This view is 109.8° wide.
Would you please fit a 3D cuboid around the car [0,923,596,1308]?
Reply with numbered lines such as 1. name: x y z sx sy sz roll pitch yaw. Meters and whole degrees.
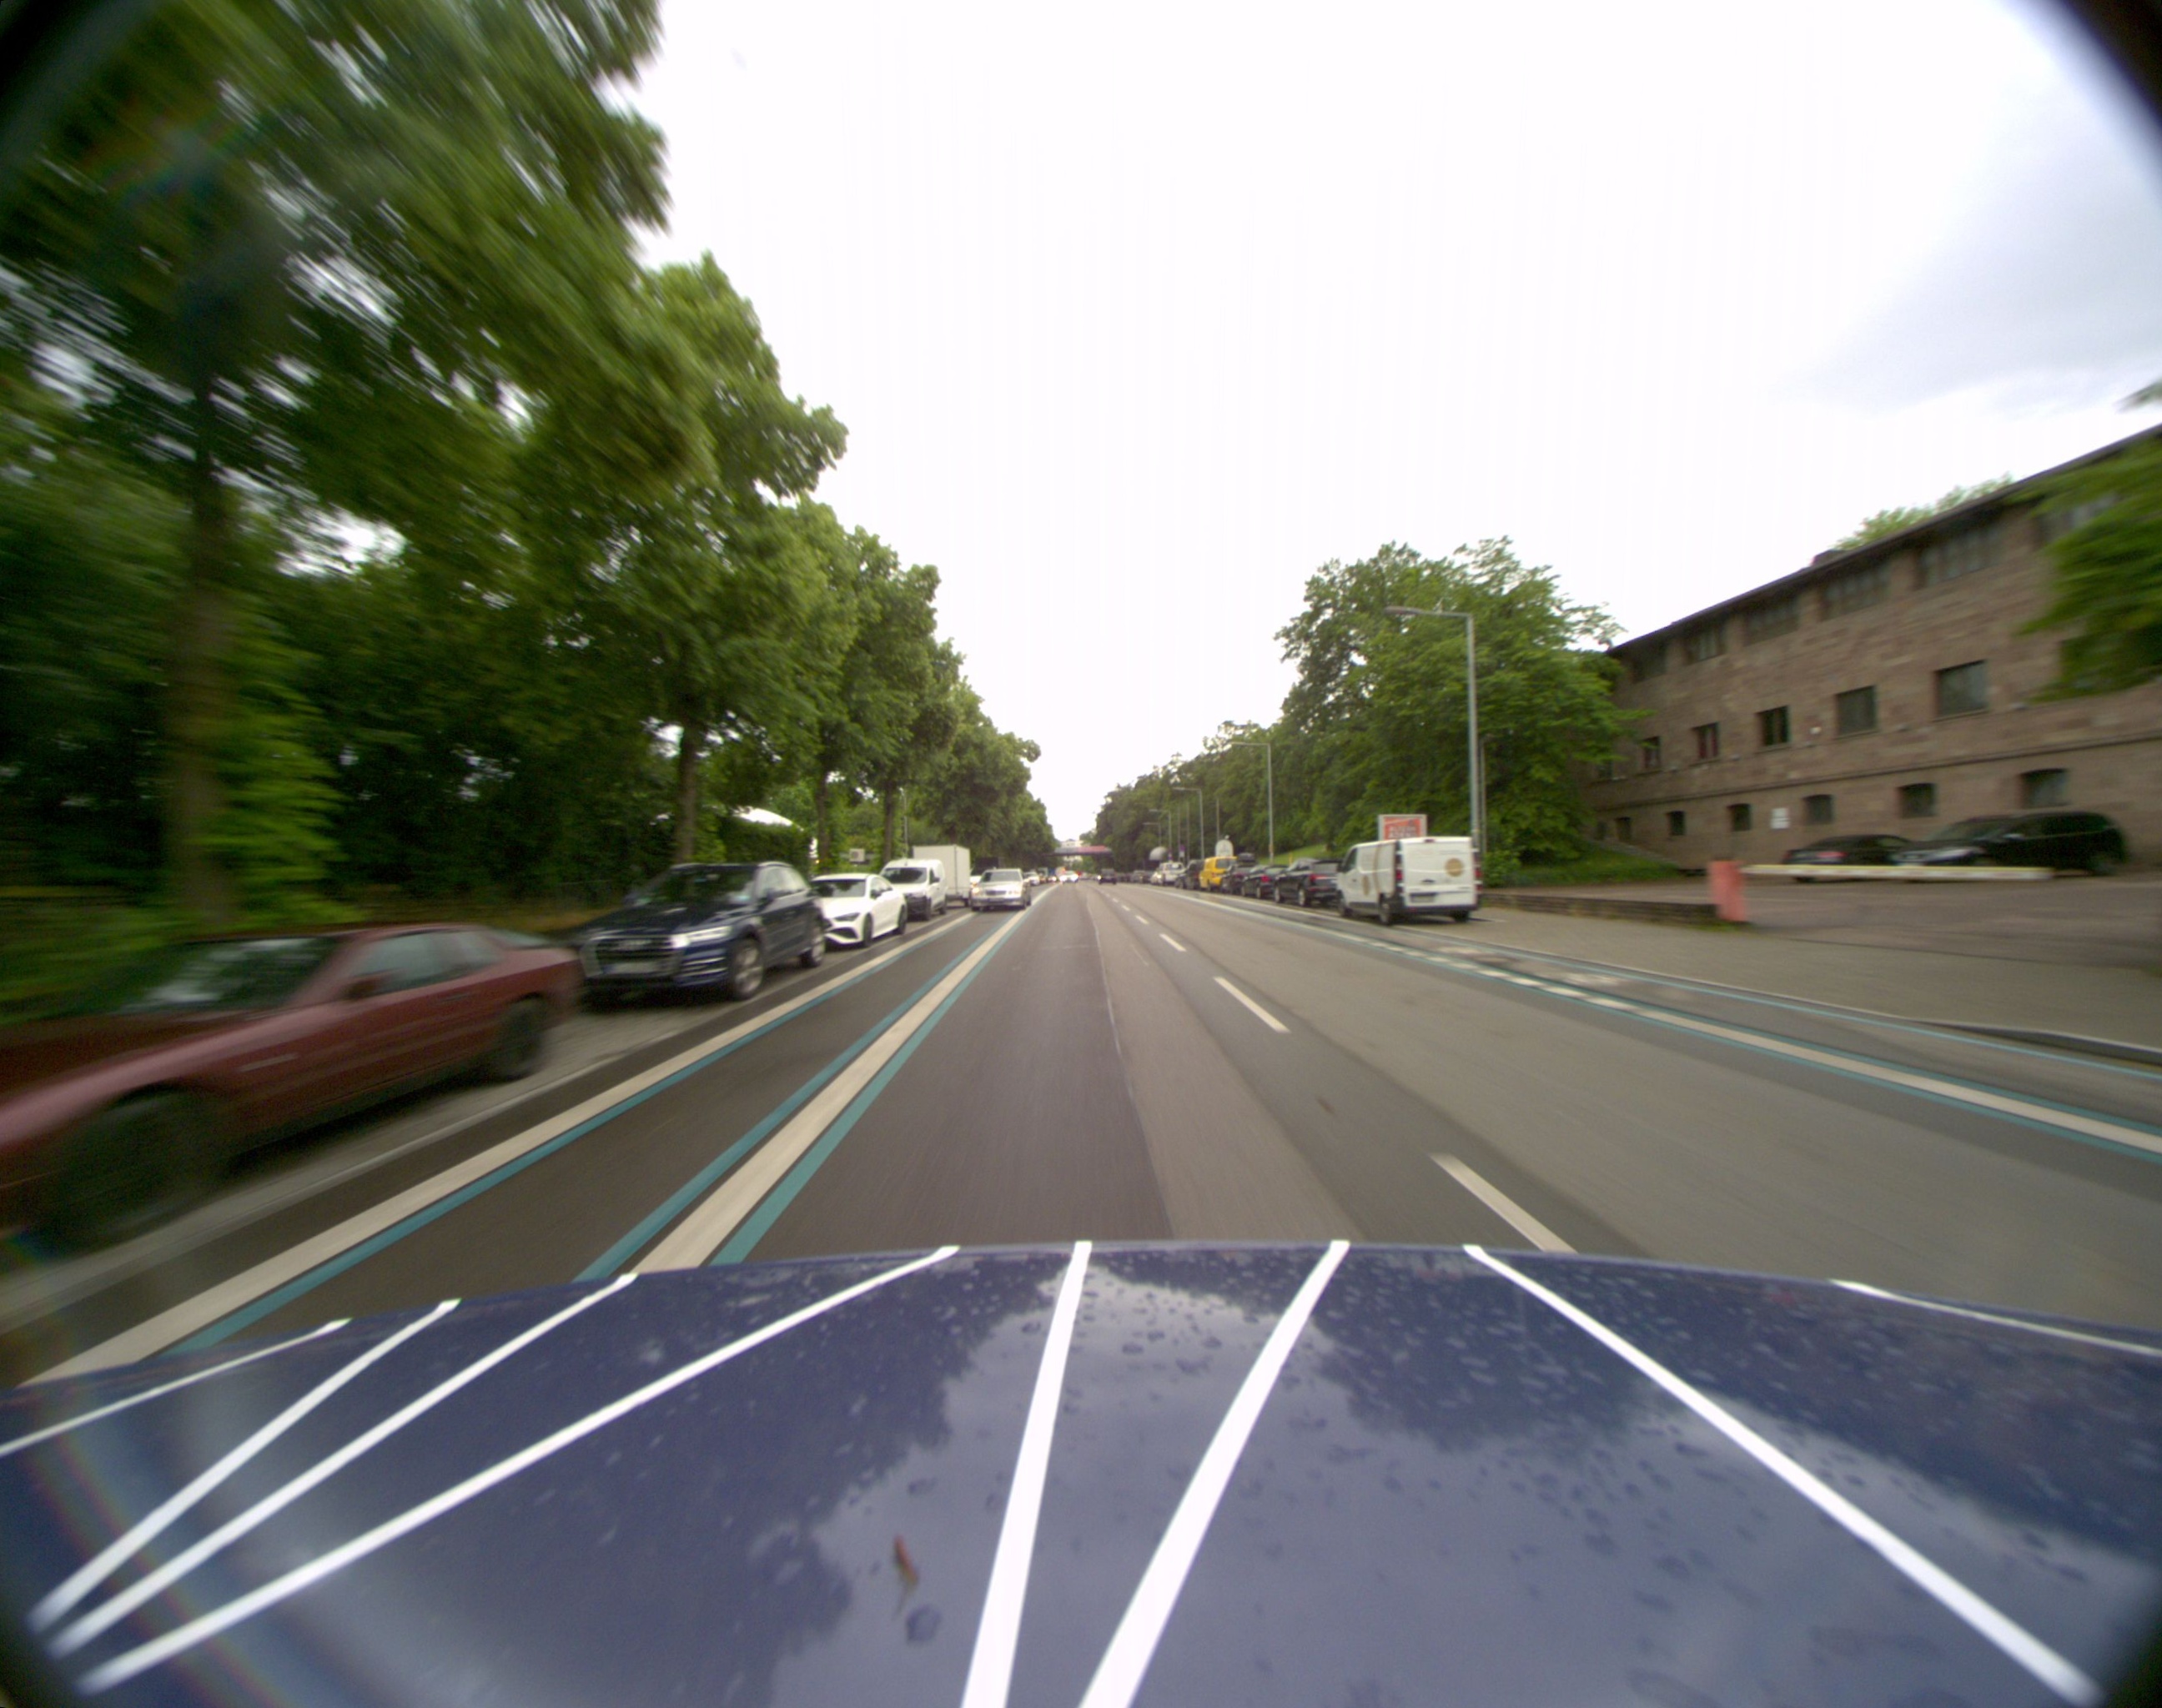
1. car: -4.974 1.178 4.455 1.630 1.183 4.183 -2 -1 -1

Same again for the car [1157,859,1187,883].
1. car: 7.795 1.462 65.231 1.877 1.965 4.735 0 -1 -2

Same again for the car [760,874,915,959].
1. car: -4.831 1.168 15.793 1.664 1.418 4.618 -2 -1 0

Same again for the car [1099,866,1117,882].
1. car: 2.791 2.036 78.948 1.715 1.608 4.150 1 -1 -1

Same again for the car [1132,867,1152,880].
1. car: 7.175 2.279 90.049 1.795 1.459 4.328 0 -1 -3

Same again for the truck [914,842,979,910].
1. truck: -4.958 0.806 28.502 1.723 2.319 4.000 -2 -1 -1

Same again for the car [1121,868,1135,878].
1. car: 7.172 2.977 117.382 1.822 1.533 4.544 0 -2 0

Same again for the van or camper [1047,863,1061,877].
1. van or camper: -5.678 3.298 158.345 2.643 2.617 5.743 -2 -1 -1

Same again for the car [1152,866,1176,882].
1. car: 7.740 1.853 71.237 1.731 1.439 4.596 0 -1 0

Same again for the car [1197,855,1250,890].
1. car: 8.012 1.038 43.150 1.999 1.901 4.845 0 -1 -1

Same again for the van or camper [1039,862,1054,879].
1. van or camper: -5.727 2.796 127.418 2.129 2.694 6.847 -3 -1 -1

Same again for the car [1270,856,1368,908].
1. car: 8.058 0.924 26.205 1.829 1.606 4.663 0 -1 -1

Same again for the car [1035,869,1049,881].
1. car: -5.032 2.699 99.055 1.581 1.381 4.189 -3 -1 -1

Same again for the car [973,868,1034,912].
1. car: -2.687 1.222 27.186 1.726 1.389 4.591 -2 -1 -1

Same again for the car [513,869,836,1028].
1. car: -4.928 1.008 10.147 1.999 1.551 4.642 -2 -1 -3

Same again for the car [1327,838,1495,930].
1. car: 7.835 0.692 18.705 1.983 1.903 5.228 -1 -1 2

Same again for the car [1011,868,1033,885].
1. car: -5.302 2.029 68.778 1.690 1.374 4.083 -2 -1 -2

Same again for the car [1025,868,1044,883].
1. car: -5.064 2.296 82.831 1.824 1.477 4.292 -2 -1 -1

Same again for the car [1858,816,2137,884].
1. car: 24.221 -0.061 20.241 4.783 1.470 2.191 -3 -2 -1

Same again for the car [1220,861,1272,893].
1. car: 8.042 1.118 37.421 1.714 1.495 4.151 0 -1 1

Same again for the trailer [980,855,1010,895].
1. trailer: -5.192 1.235 46.032 1.350 2.256 3.564 -2 -1 -1

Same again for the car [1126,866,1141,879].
1. car: 7.490 2.640 108.276 1.822 1.754 4.001 0 -2 -1

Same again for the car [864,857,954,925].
1. car: -5.039 1.038 22.837 1.726 1.780 4.345 -2 -1 -1

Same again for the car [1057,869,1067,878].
1. car: -3.649 3.646 144.193 1.733 1.578 3.671 -3 -1 -1

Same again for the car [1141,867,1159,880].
1. car: 7.551 2.162 83.414 1.680 1.363 3.586 0 -1 0

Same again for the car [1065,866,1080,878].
1. car: -1.085 2.311 97.150 1.828 1.453 3.882 -3 -1 -1

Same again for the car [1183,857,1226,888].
1. car: 7.898 1.205 49.101 1.881 1.908 5.204 0 -1 -1

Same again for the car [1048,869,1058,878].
1. car: -5.621 3.940 152.036 1.733 1.578 3.671 -3 -1 -1

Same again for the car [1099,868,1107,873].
1. car: 5.989 4.555 208.754 1.870 1.280 3.999 -1 -1 -3

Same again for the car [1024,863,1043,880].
1. car: -5.516 2.002 88.380 1.847 1.865 4.616 -2 -1 -1

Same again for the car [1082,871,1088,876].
1. car: 1.211 5.766 222.211 1.828 1.453 3.883 -3 -2 -1

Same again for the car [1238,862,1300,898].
1. car: 8.017 1.089 32.721 1.612 1.437 4.038 0 -1 -1

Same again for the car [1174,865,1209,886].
1. car: 7.926 1.518 54.869 1.688 1.450 4.611 0 -1 -2

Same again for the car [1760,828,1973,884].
1. car: 24.011 0.061 23.358 4.315 1.424 2.262 -3 0 -4

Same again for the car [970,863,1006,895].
1. car: -4.980 1.307 40.671 1.761 1.575 4.412 -2 -1 -7
